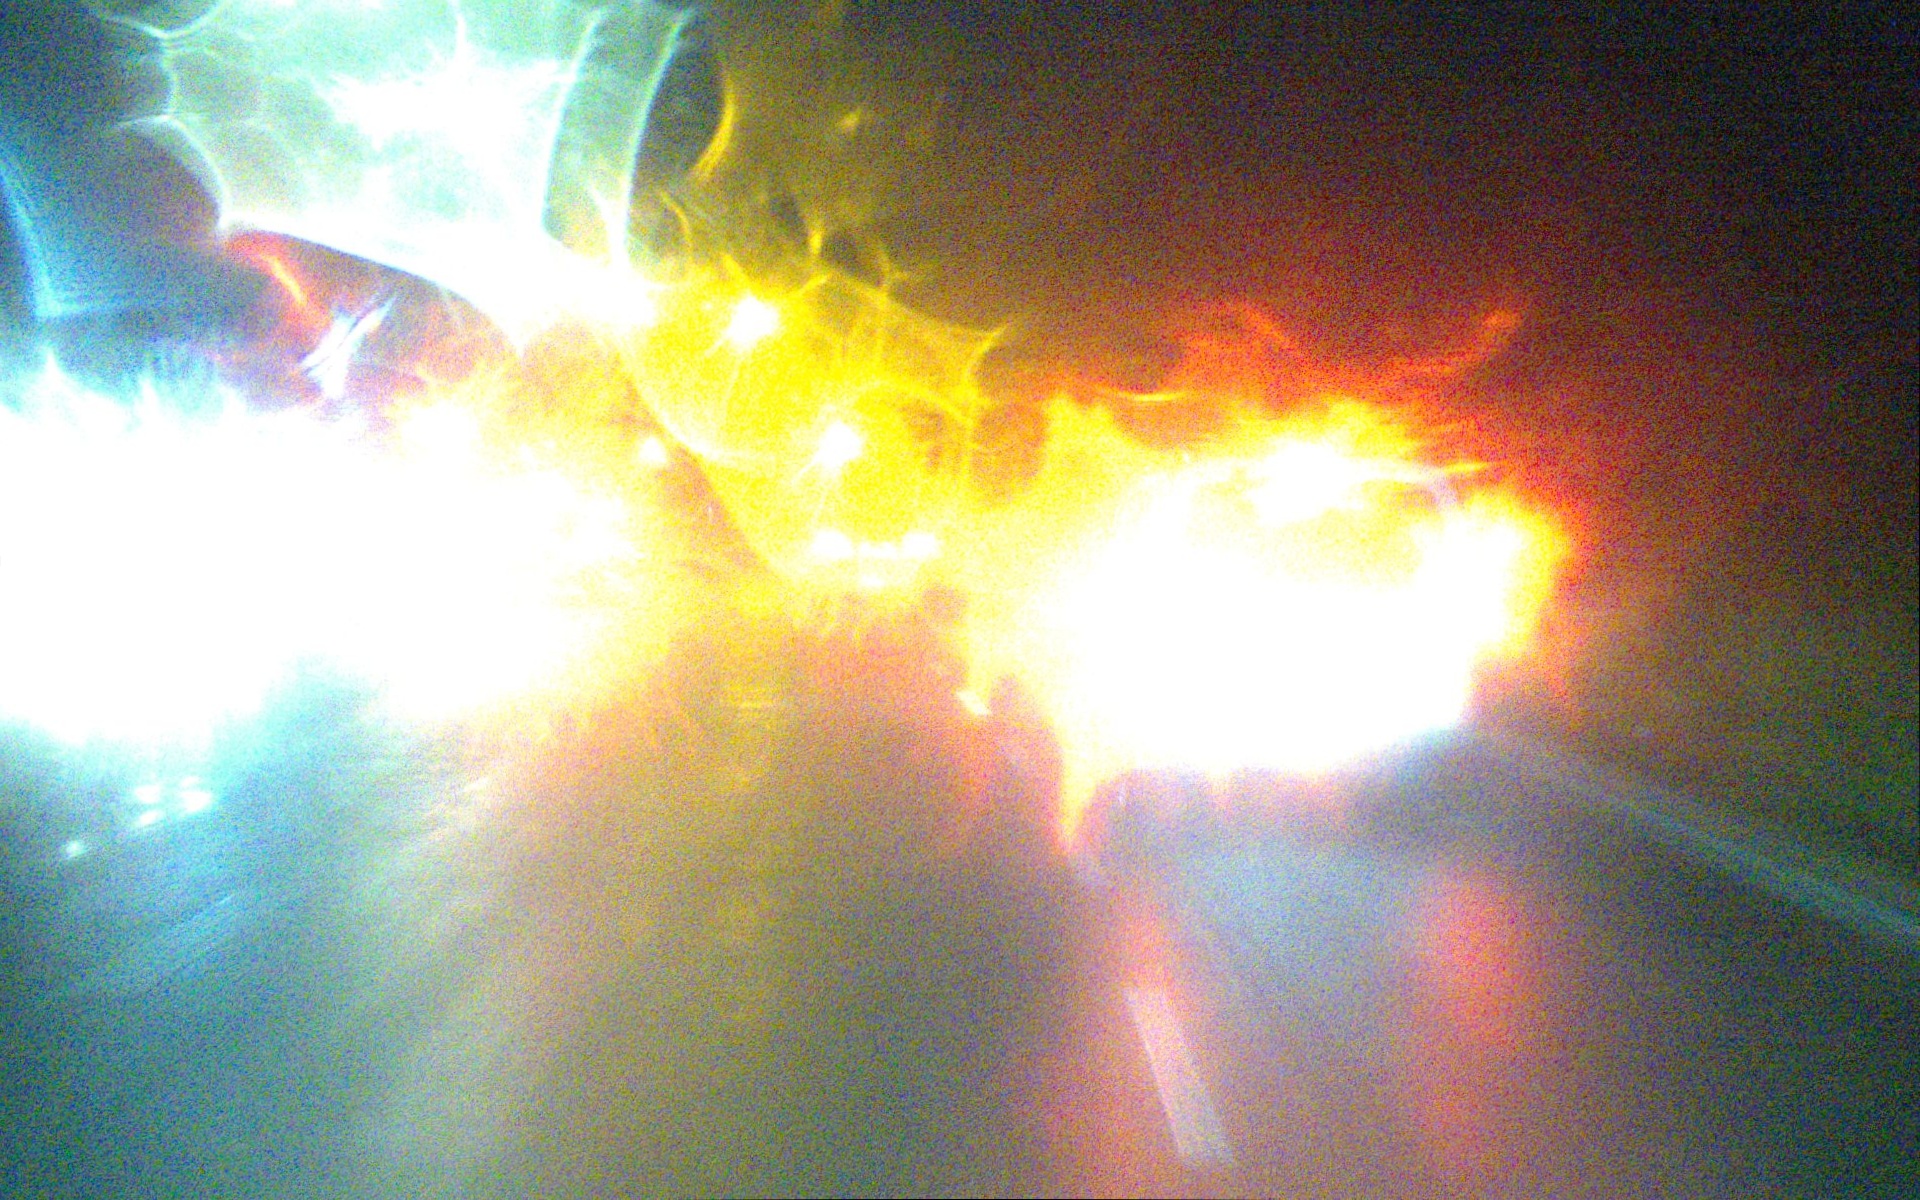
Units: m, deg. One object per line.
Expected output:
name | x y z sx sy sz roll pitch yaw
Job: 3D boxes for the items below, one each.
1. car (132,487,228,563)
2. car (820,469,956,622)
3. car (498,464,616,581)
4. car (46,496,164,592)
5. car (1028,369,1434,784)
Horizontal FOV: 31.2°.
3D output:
car | -17.779 -1.732 78.471 1.761 1.636 4.654 1 2 -8
car | -0.992 -0.804 47.872 1.791 2.015 4.580 0 2 -1
car | -6.426 -1.268 54.641 1.783 1.776 4.437 0 2 -7
car | -14.898 -0.990 60.076 1.801 1.582 4.032 1 1 -12
car | 1.363 -0.193 19.022 1.791 2.015 4.580 0 2 -1
